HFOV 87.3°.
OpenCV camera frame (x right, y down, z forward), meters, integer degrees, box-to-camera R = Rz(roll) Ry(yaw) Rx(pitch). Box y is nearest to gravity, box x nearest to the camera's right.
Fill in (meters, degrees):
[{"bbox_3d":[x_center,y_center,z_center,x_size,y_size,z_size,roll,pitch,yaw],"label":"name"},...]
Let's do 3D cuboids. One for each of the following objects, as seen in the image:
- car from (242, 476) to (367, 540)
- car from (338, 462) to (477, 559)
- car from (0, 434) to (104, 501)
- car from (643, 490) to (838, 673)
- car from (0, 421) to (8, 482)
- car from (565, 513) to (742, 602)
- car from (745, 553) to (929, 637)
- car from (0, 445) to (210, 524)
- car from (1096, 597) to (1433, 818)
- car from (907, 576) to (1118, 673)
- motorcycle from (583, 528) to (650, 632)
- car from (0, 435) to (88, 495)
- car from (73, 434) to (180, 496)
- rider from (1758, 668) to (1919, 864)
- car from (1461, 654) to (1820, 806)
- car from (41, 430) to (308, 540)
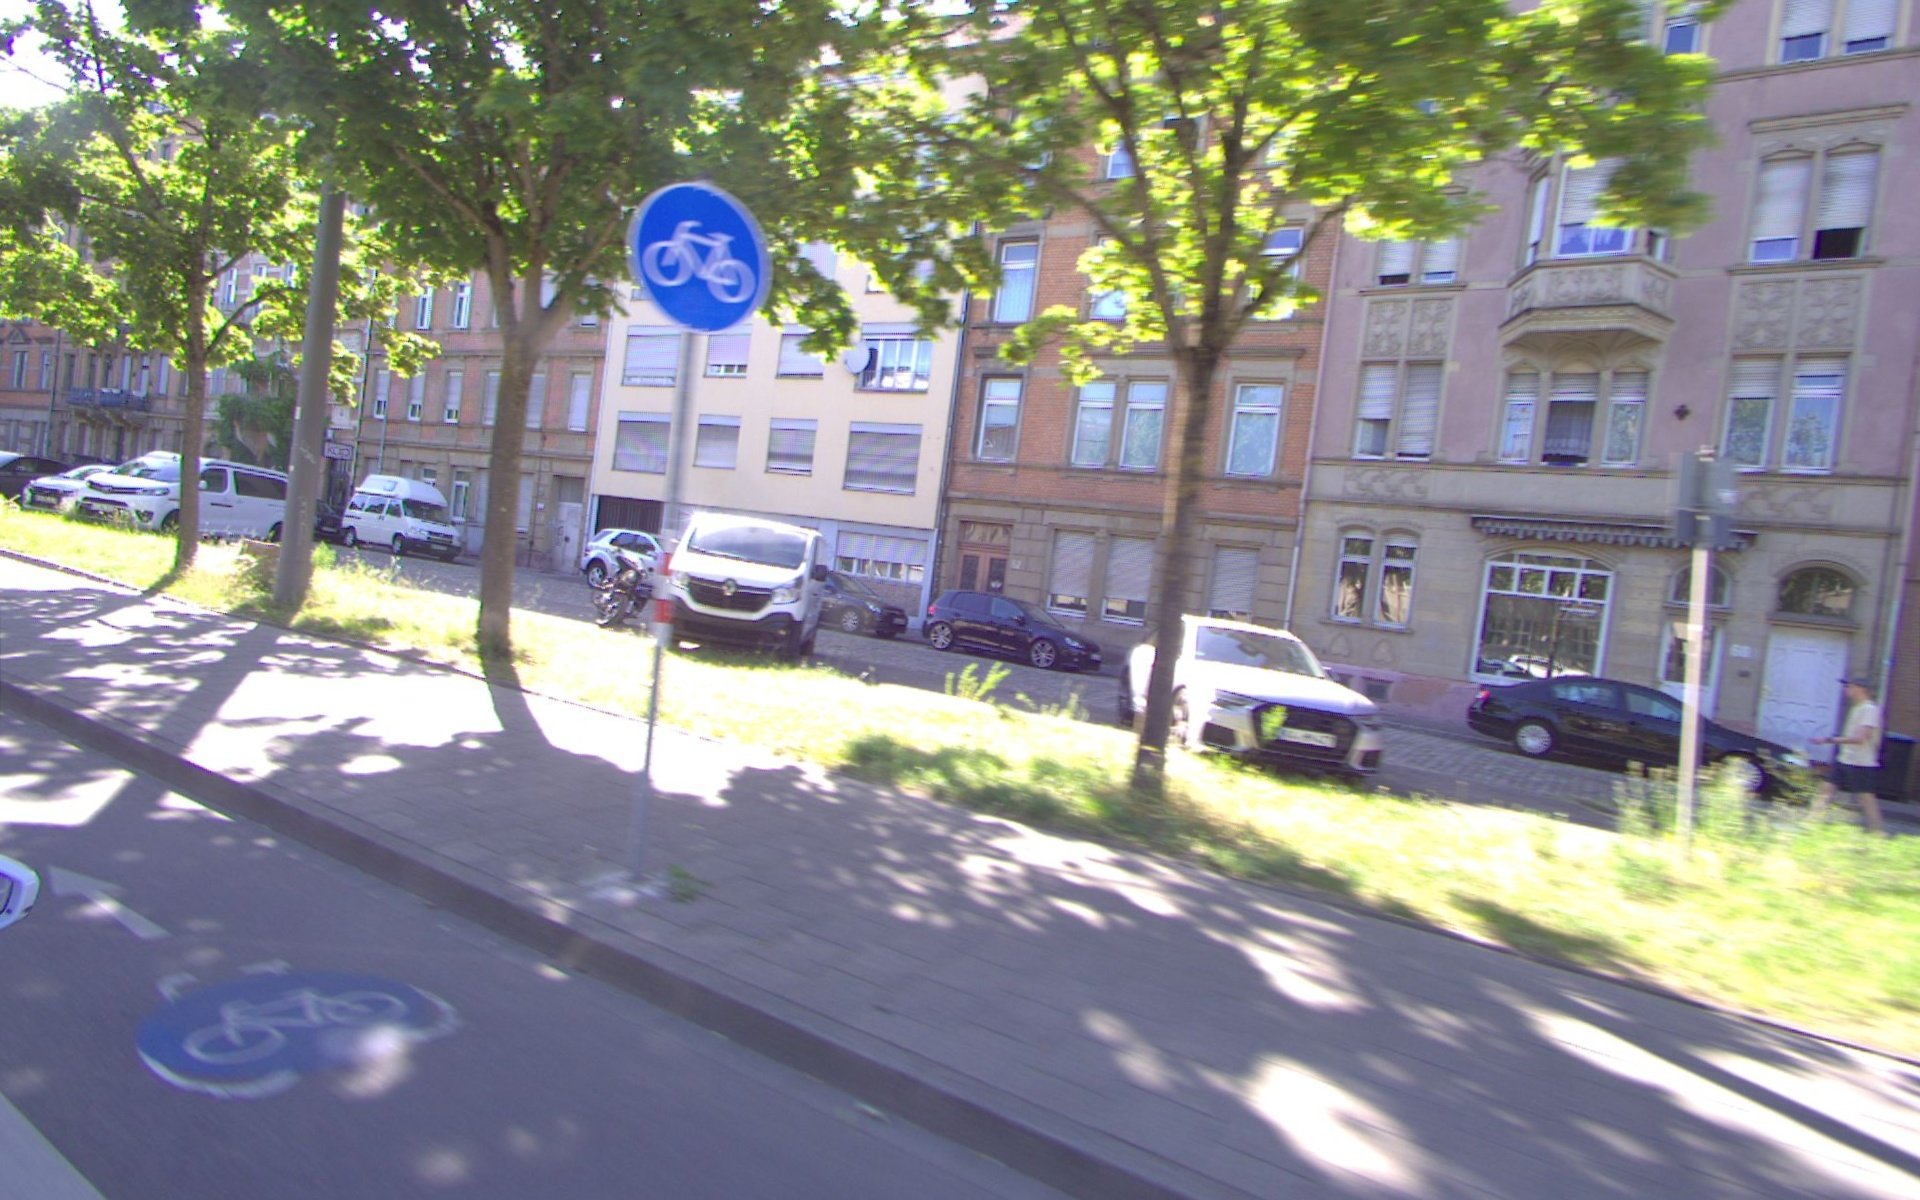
[{"bbox_3d":[-23.948,-3.358,36.738,4.437,1.713,1.995,9,2,31],"label":"car"},{"bbox_3d":[-18.398,-2.997,33.436,4.437,2.621,1.993,10,5,31],"label":"car"},{"bbox_3d":[-28.330,-4.032,29.818,1.963,1.751,4.506,6,3,1],"label":"car"},{"bbox_3d":[-3.091,-0.381,15.225,1.985,2.104,4.869,7,3,-4],"label":"car"},{"bbox_3d":[-33.822,-5.075,32.275,2.063,2.041,4.870,6,3,-4],"label":"car"},{"bbox_3d":[-8.484,-1.180,27.757,4.547,1.825,1.994,9,4,30],"label":"car"},{"bbox_3d":[-3.066,-0.137,24.826,4.093,1.440,1.879,9,4,30],"label":"car"},{"bbox_3d":[-20.675,-2.748,24.566,1.780,1.499,4.022,6,3,-3],"label":"car"},{"bbox_3d":[3.026,0.957,11.330,1.984,1.454,4.871,7,3,-3],"label":"car"},{"bbox_3d":[1.127,0.505,22.353,4.220,1.440,1.729,9,4,30],"label":"car"},{"bbox_3d":[-5.571,-0.374,16.373,0.842,1.440,2.249,6,4,-19],"label":"motorcycle"},{"bbox_3d":[-30.792,-4.408,31.816,2.062,1.670,4.873,7,3,1],"label":"car"},{"bbox_3d":[-35.412,-5.740,42.721,4.643,2.005,1.994,9,4,30],"label":"car"},{"bbox_3d":[9.712,1.760,10.946,1.021,1.844,0.962,8,3,8],"label":"rider"},{"bbox_3d":[10.780,1.976,16.312,4.416,1.493,1.994,9,2,33],"label":"car"},{"bbox_3d":[-18.130,-2.555,23.636,2.062,2.041,5.179,6,3,1],"label":"car"}]
